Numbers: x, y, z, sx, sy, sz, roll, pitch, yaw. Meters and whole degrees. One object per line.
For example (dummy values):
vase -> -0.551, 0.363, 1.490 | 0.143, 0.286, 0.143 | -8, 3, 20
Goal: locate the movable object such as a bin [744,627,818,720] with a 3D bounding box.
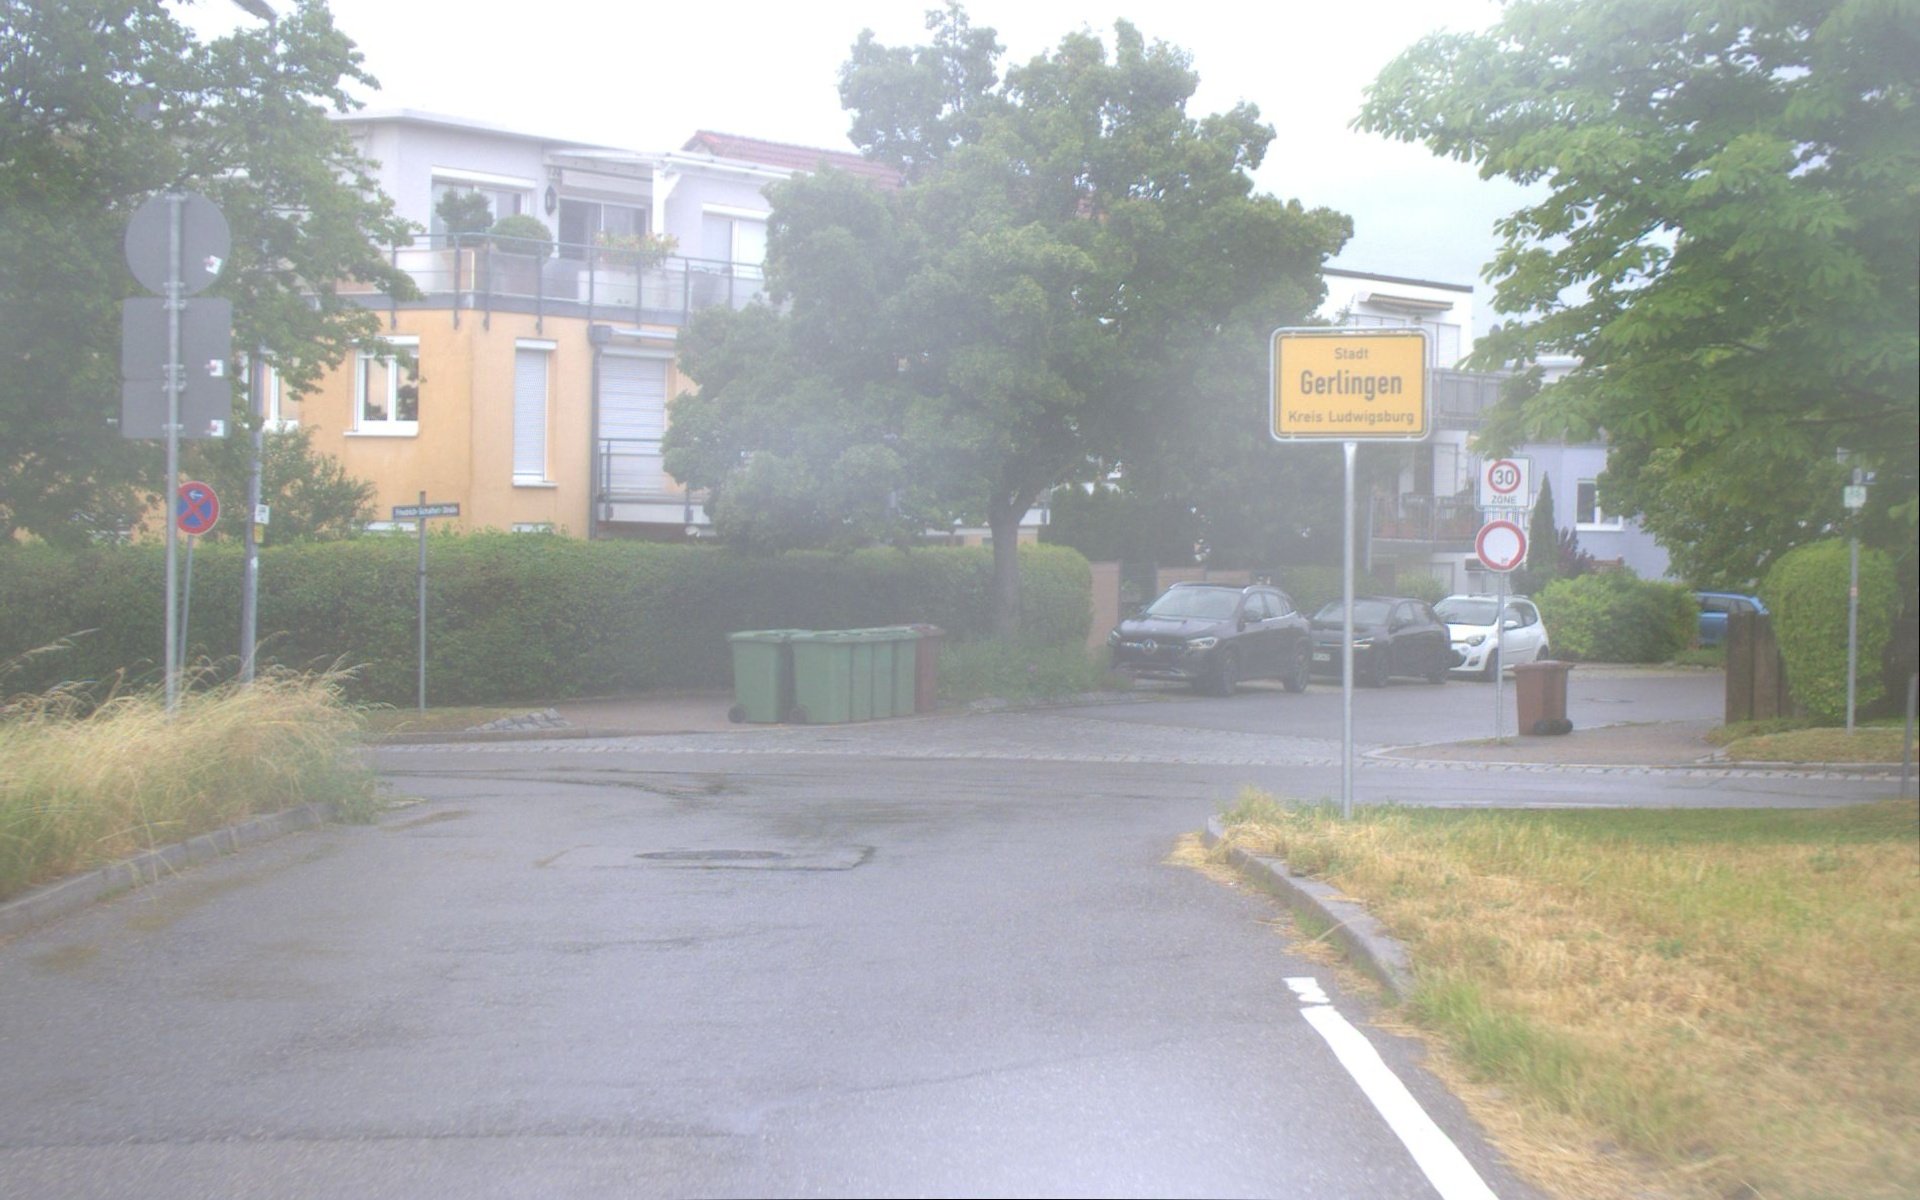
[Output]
movable object such as a bin -> -2.115, 0.866, 40.599 | 0.695, 1.069, 0.597 | 1, 1, 20

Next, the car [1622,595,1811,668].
car -> 17.827, 0.743, 81.001 | 3.992, 1.563, 1.906 | 2, 0, 25

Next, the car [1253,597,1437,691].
car -> 6.319, 0.711, 56.157 | 1.638, 1.404, 3.598 | 3, 1, 30

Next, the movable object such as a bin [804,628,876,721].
movable object such as a bin -> -1.410, 0.870, 40.408 | 0.695, 1.071, 0.543 | 1, 1, 20

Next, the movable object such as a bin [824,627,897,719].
movable object such as a bin -> -1.186, 0.863, 40.961 | 0.695, 1.063, 0.578 | 1, 1, 20

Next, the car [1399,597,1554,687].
car -> 9.121, 0.731, 60.588 | 1.513, 1.471, 3.268 | 3, 1, 31

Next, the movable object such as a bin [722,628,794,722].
movable object such as a bin -> -2.348, 0.865, 40.032 | 0.666, 1.070, 0.543 | 1, 1, 21

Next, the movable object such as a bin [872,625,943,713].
movable object such as a bin -> -0.648, 0.844, 42.278 | 0.695, 1.051, 0.605 | 1, 1, 20

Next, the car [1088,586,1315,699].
car -> 3.633, 0.612, 51.109 | 1.778, 1.513, 4.131 | 3, 1, 28

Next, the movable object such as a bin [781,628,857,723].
movable object such as a bin -> -1.630, 0.874, 39.827 | 0.695, 1.071, 0.601 | 1, 1, 20

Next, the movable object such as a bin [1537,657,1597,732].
movable object such as a bin -> 7.746, 1.197, 43.871 | 0.571, 0.928, 0.529 | 1, 0, 33

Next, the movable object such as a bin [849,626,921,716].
movable object such as a bin -> -0.902, 0.854, 41.518 | 0.695, 1.051, 0.605 | 1, 1, 20

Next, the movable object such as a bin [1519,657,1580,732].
movable object such as a bin -> 7.435, 1.189, 43.387 | 0.571, 0.928, 0.529 | 1, 0, 33
